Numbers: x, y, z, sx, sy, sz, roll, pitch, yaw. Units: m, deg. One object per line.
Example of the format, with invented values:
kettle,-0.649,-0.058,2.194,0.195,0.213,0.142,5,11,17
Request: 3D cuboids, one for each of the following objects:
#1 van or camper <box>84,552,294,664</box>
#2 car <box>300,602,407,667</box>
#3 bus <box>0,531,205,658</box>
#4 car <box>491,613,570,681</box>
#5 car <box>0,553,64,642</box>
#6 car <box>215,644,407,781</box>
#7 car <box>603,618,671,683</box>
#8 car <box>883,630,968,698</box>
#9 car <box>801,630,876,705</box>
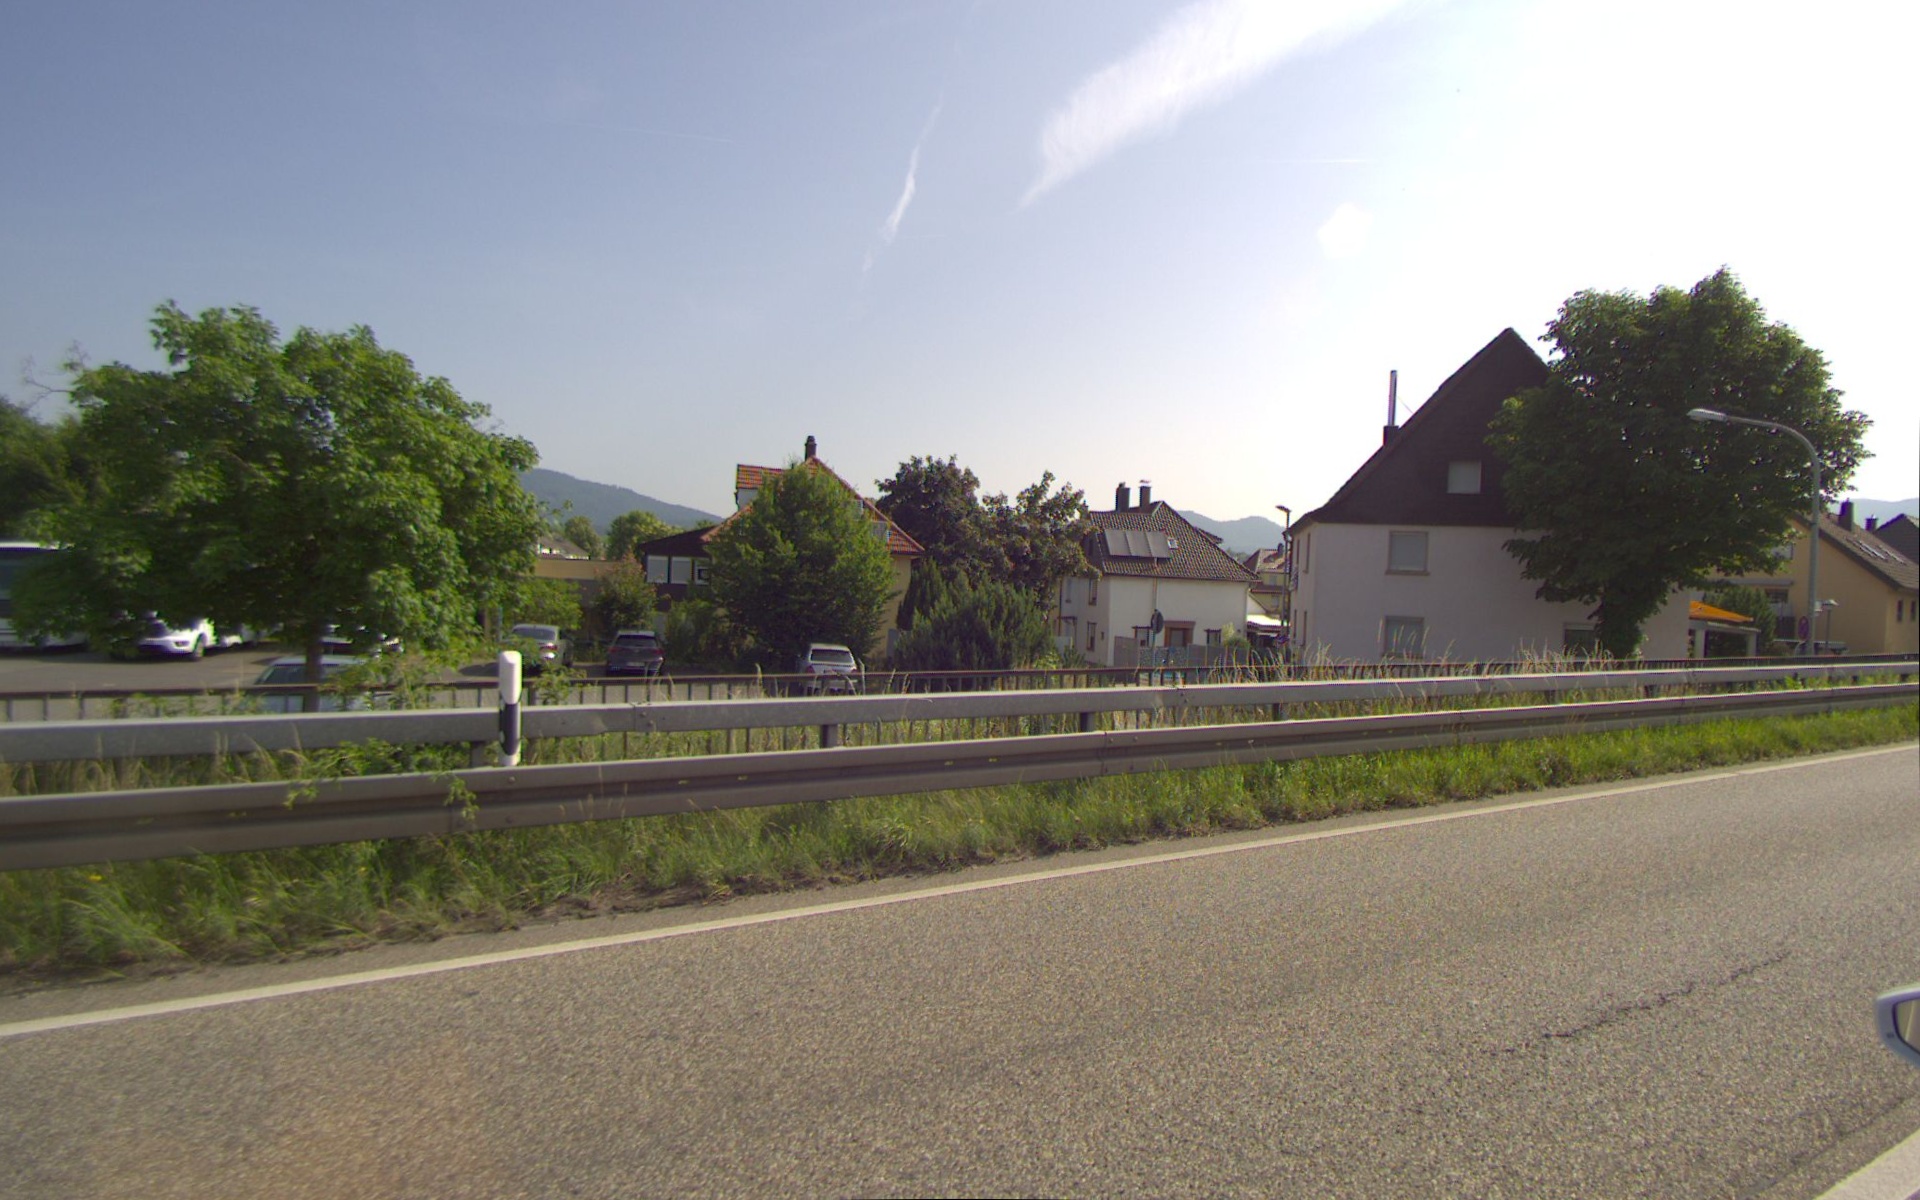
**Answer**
van or camper,-22.657,0.137,30.036,2.705,2.880,7.385,2,1,-19
car,-18.230,0.973,30.404,1.833,1.655,4.552,1,1,-19
bus,-26.859,-0.271,31.285,2.624,3.400,9.088,0,2,-19
car,-13.034,1.373,30.707,1.834,1.655,4.552,4,0,-19
car,-30.313,-0.119,31.236,1.833,2.696,5.015,1,1,-19
car,-9.470,1.521,15.003,1.849,1.524,4.285,1,0,-26
car,-10.259,1.558,32.199,1.832,1.655,4.556,4,0,-16
car,-1.237,2.098,33.641,1.832,1.655,4.156,4,3,-16
car,-3.897,2.051,31.607,1.830,1.655,4.560,4,3,-13
